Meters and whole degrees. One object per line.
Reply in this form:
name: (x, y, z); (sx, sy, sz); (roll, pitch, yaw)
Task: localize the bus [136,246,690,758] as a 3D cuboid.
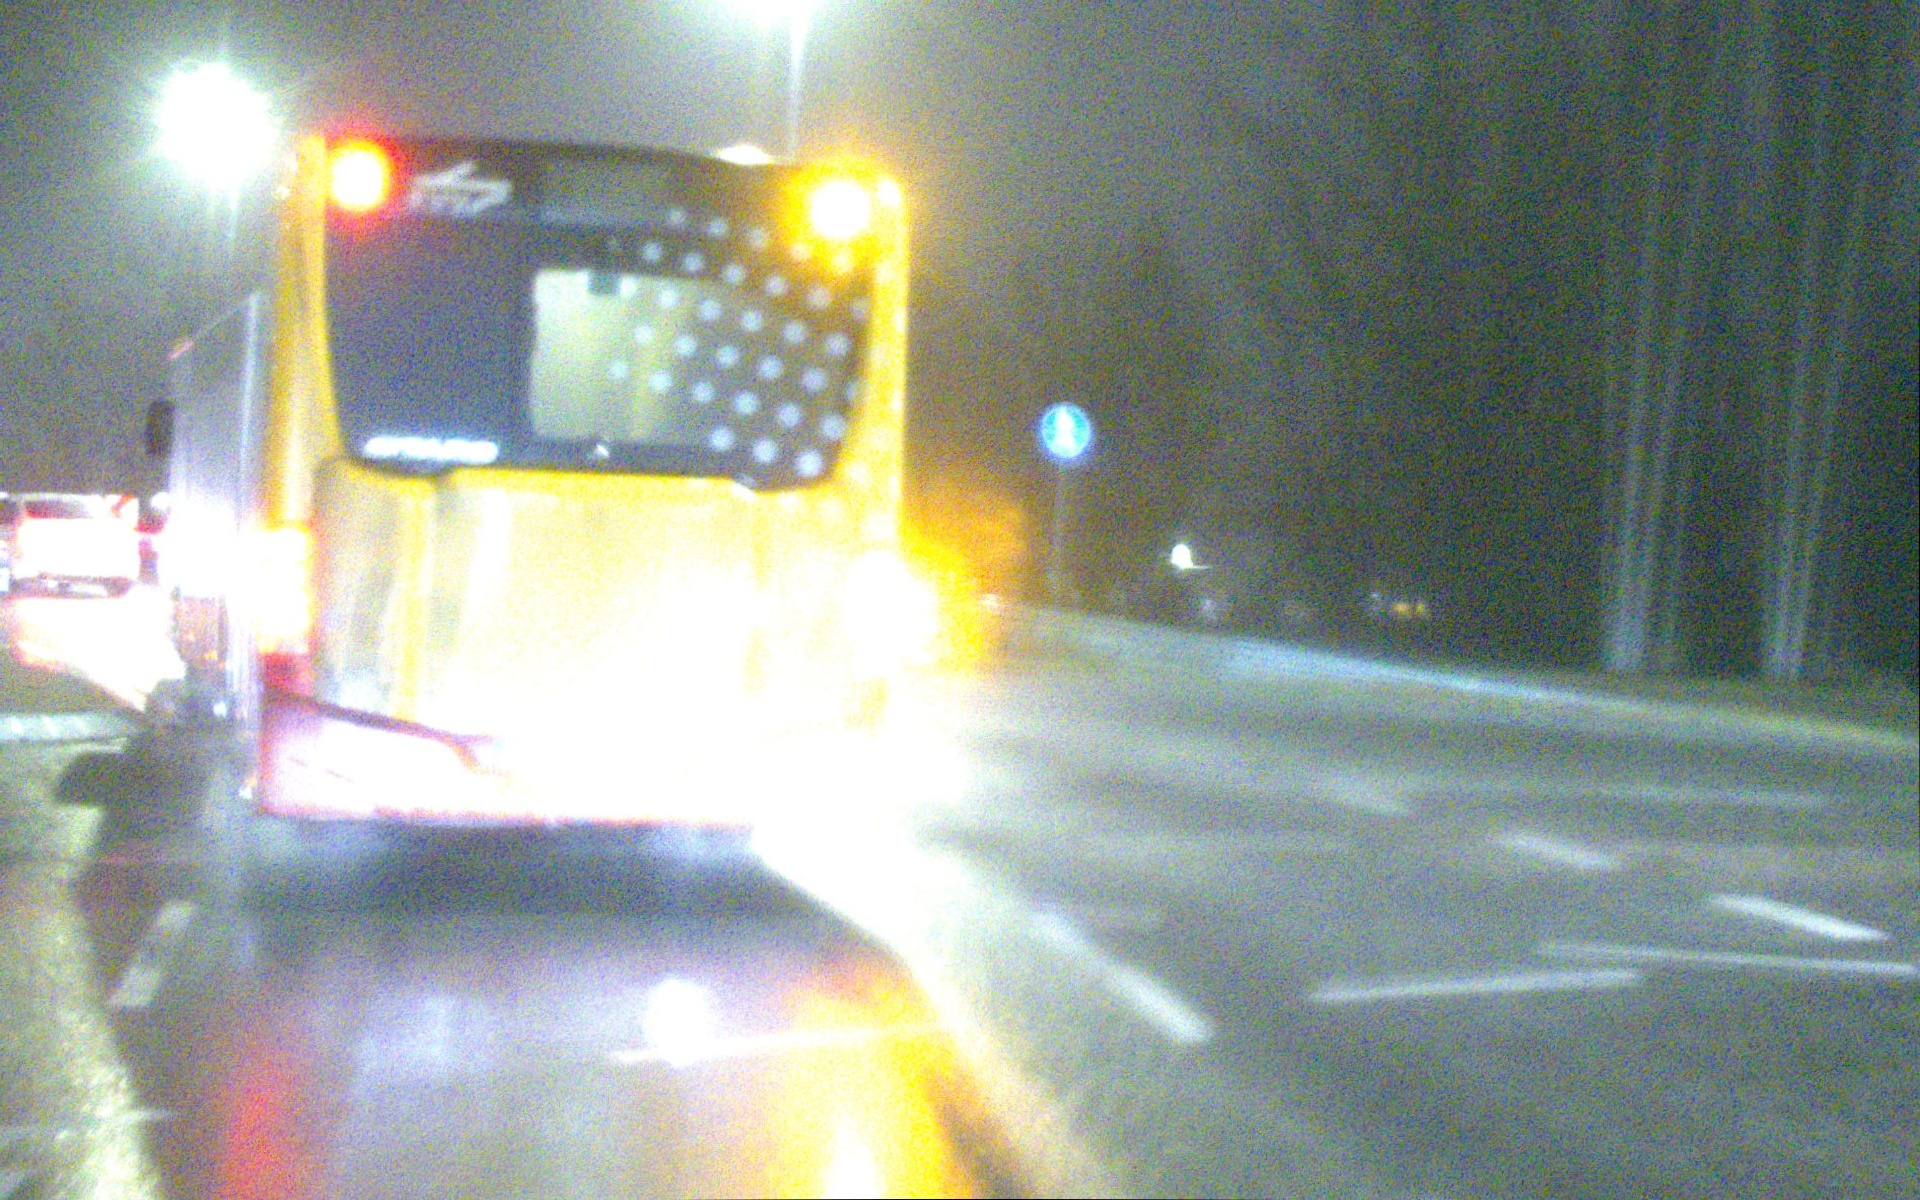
bus: (-4.534, -0.781, 26.562); (3.246, 3.109, 8.648); (4, 1, -14)

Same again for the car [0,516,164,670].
car: (-13.093, -0.137, 49.226); (1.993, 2.007, 4.349); (4, -1, -30)

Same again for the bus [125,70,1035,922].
bus: (-2.373, -0.454, 17.647); (3.284, 3.040, 9.547); (3, 1, -12)
